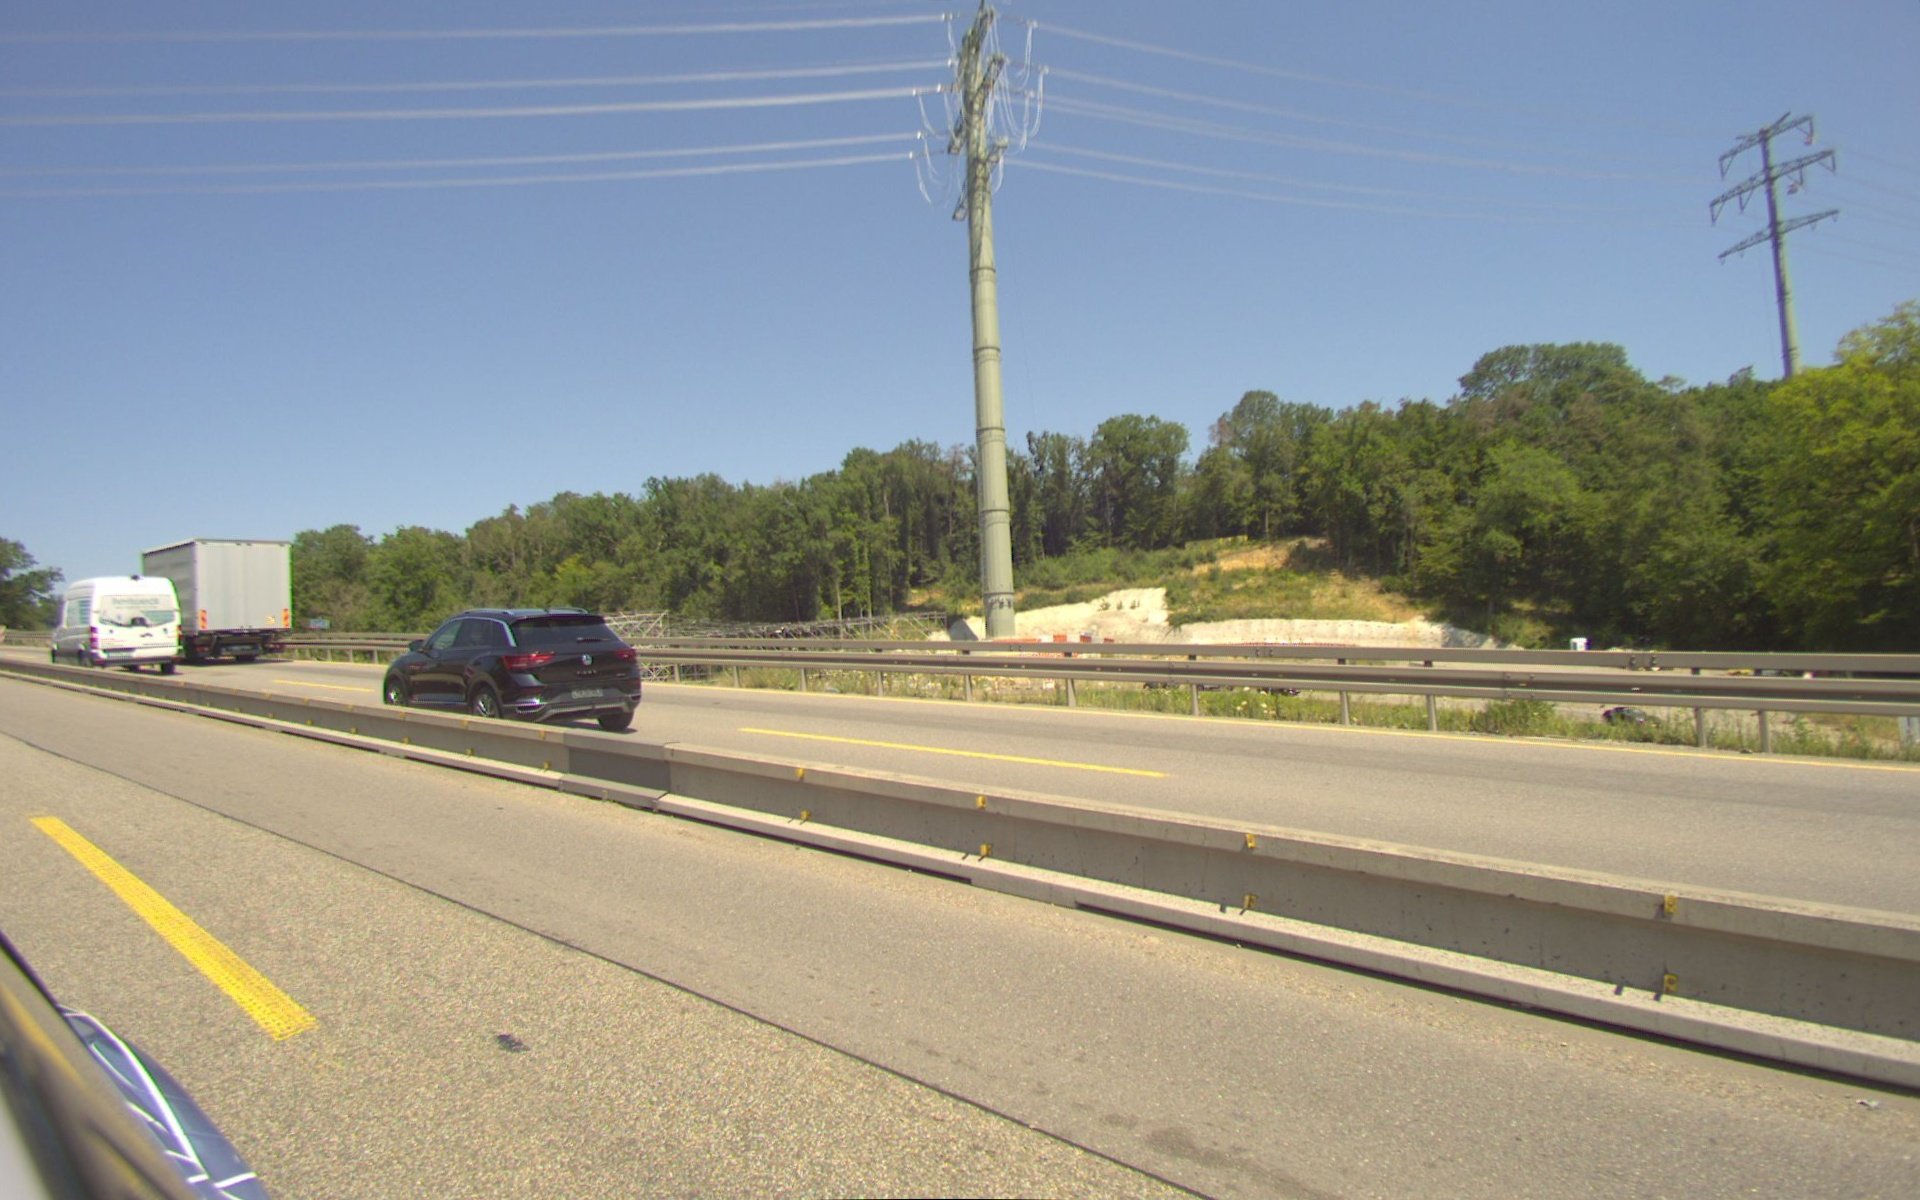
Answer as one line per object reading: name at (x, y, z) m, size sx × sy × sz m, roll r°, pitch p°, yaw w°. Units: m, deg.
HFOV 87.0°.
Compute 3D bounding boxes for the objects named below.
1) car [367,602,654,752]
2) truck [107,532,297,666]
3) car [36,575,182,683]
car at (-5.728, 0.851, 12.683) m, size 4.033 × 1.563 × 1.712 m, roll -1°, pitch 0°, yaw 40°
truck at (-26.323, 0.007, 34.855) m, size 10.541 × 4.030 × 2.773 m, roll -1°, pitch 0°, yaw 39°
car at (-23.761, 0.744, 28.131) m, size 6.655 × 2.700 × 1.950 m, roll -1°, pitch 0°, yaw 40°
